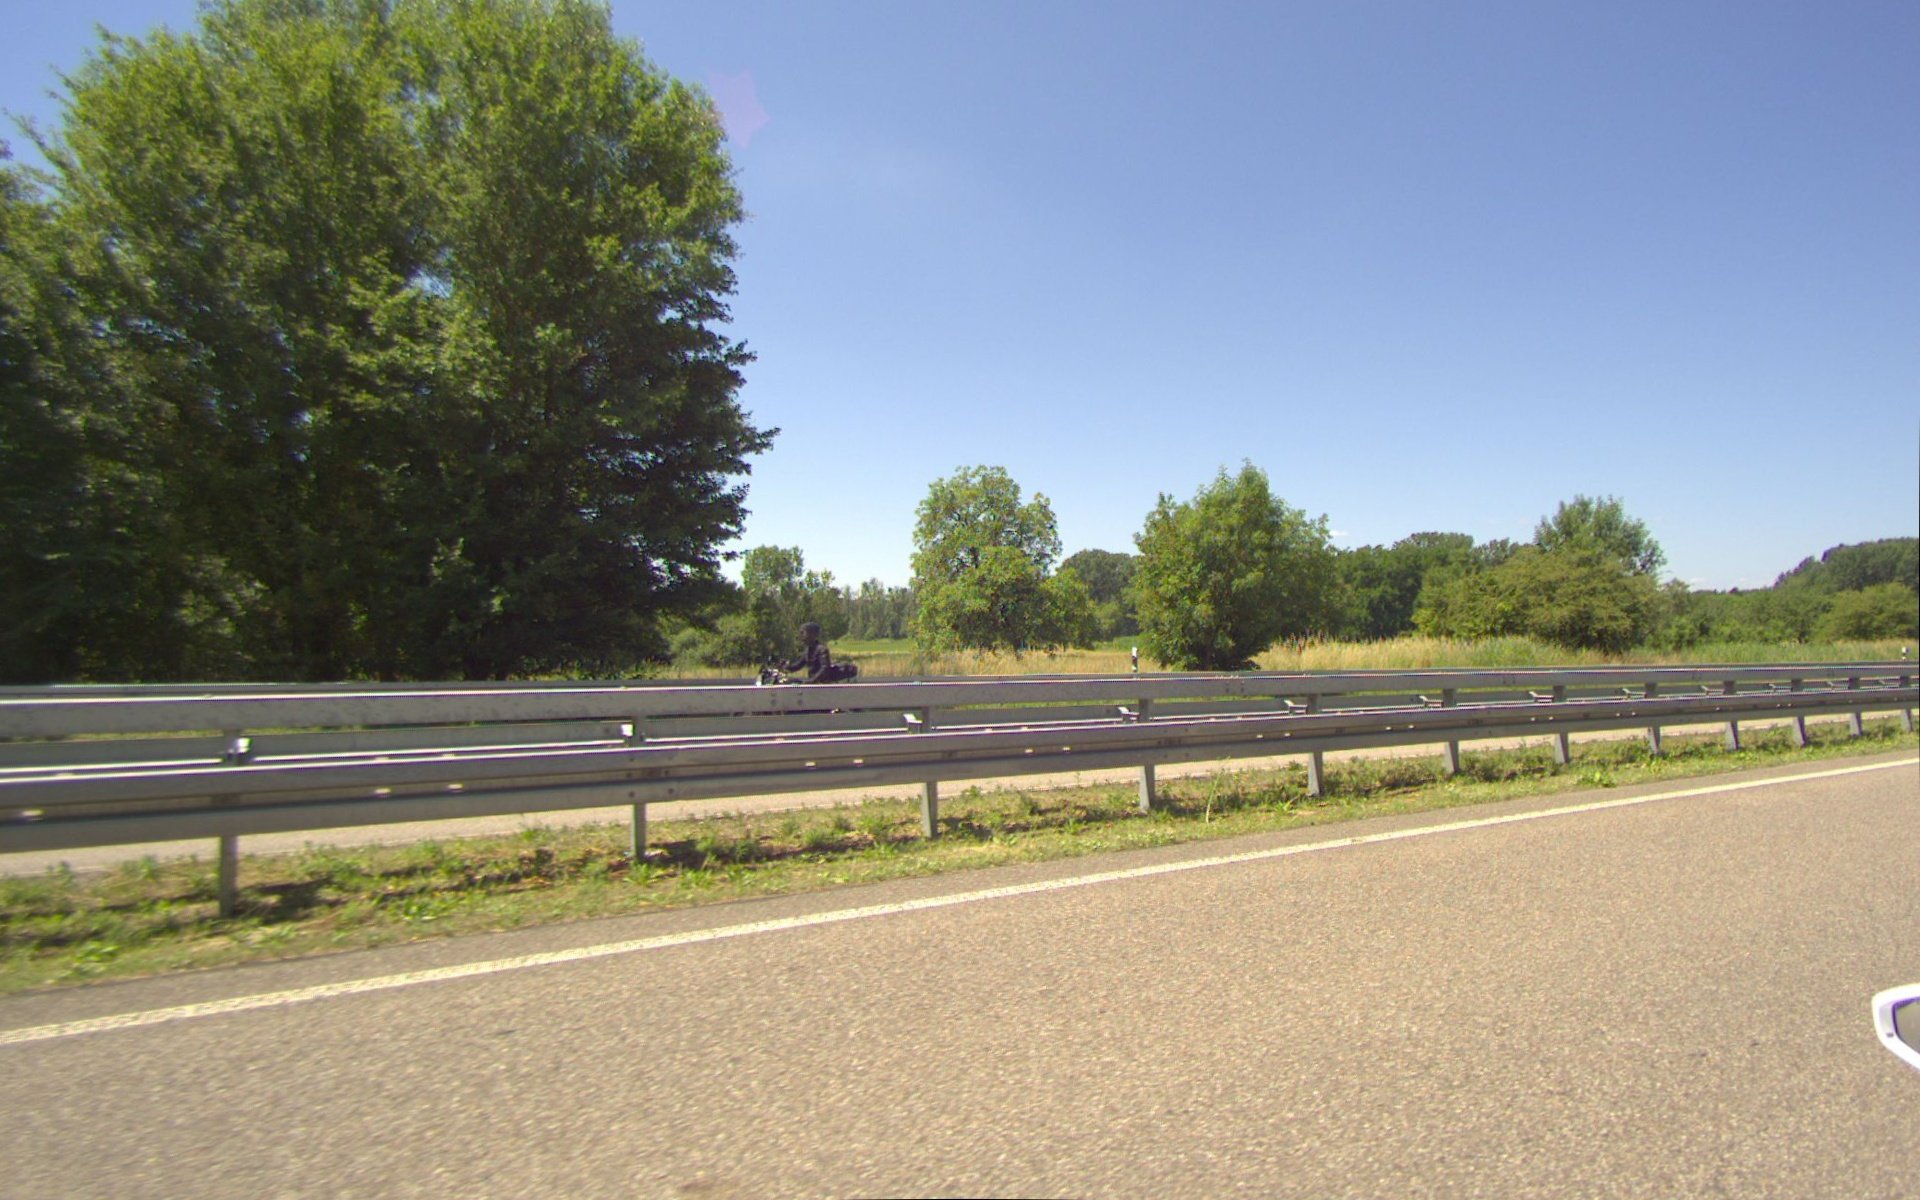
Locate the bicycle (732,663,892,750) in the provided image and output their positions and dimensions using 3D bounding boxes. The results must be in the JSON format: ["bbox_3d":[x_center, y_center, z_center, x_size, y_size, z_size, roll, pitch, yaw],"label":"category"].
[{"bbox_3d":[-2.145,1.527,14.771,2.254,1.173,0.610,2,-1,-31],"label":"bicycle"}]

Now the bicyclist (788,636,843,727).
[{"bbox_3d":[-2.122,1.182,14.767,0.601,1.294,0.611,1,-1,-30],"label":"bicyclist"}]
